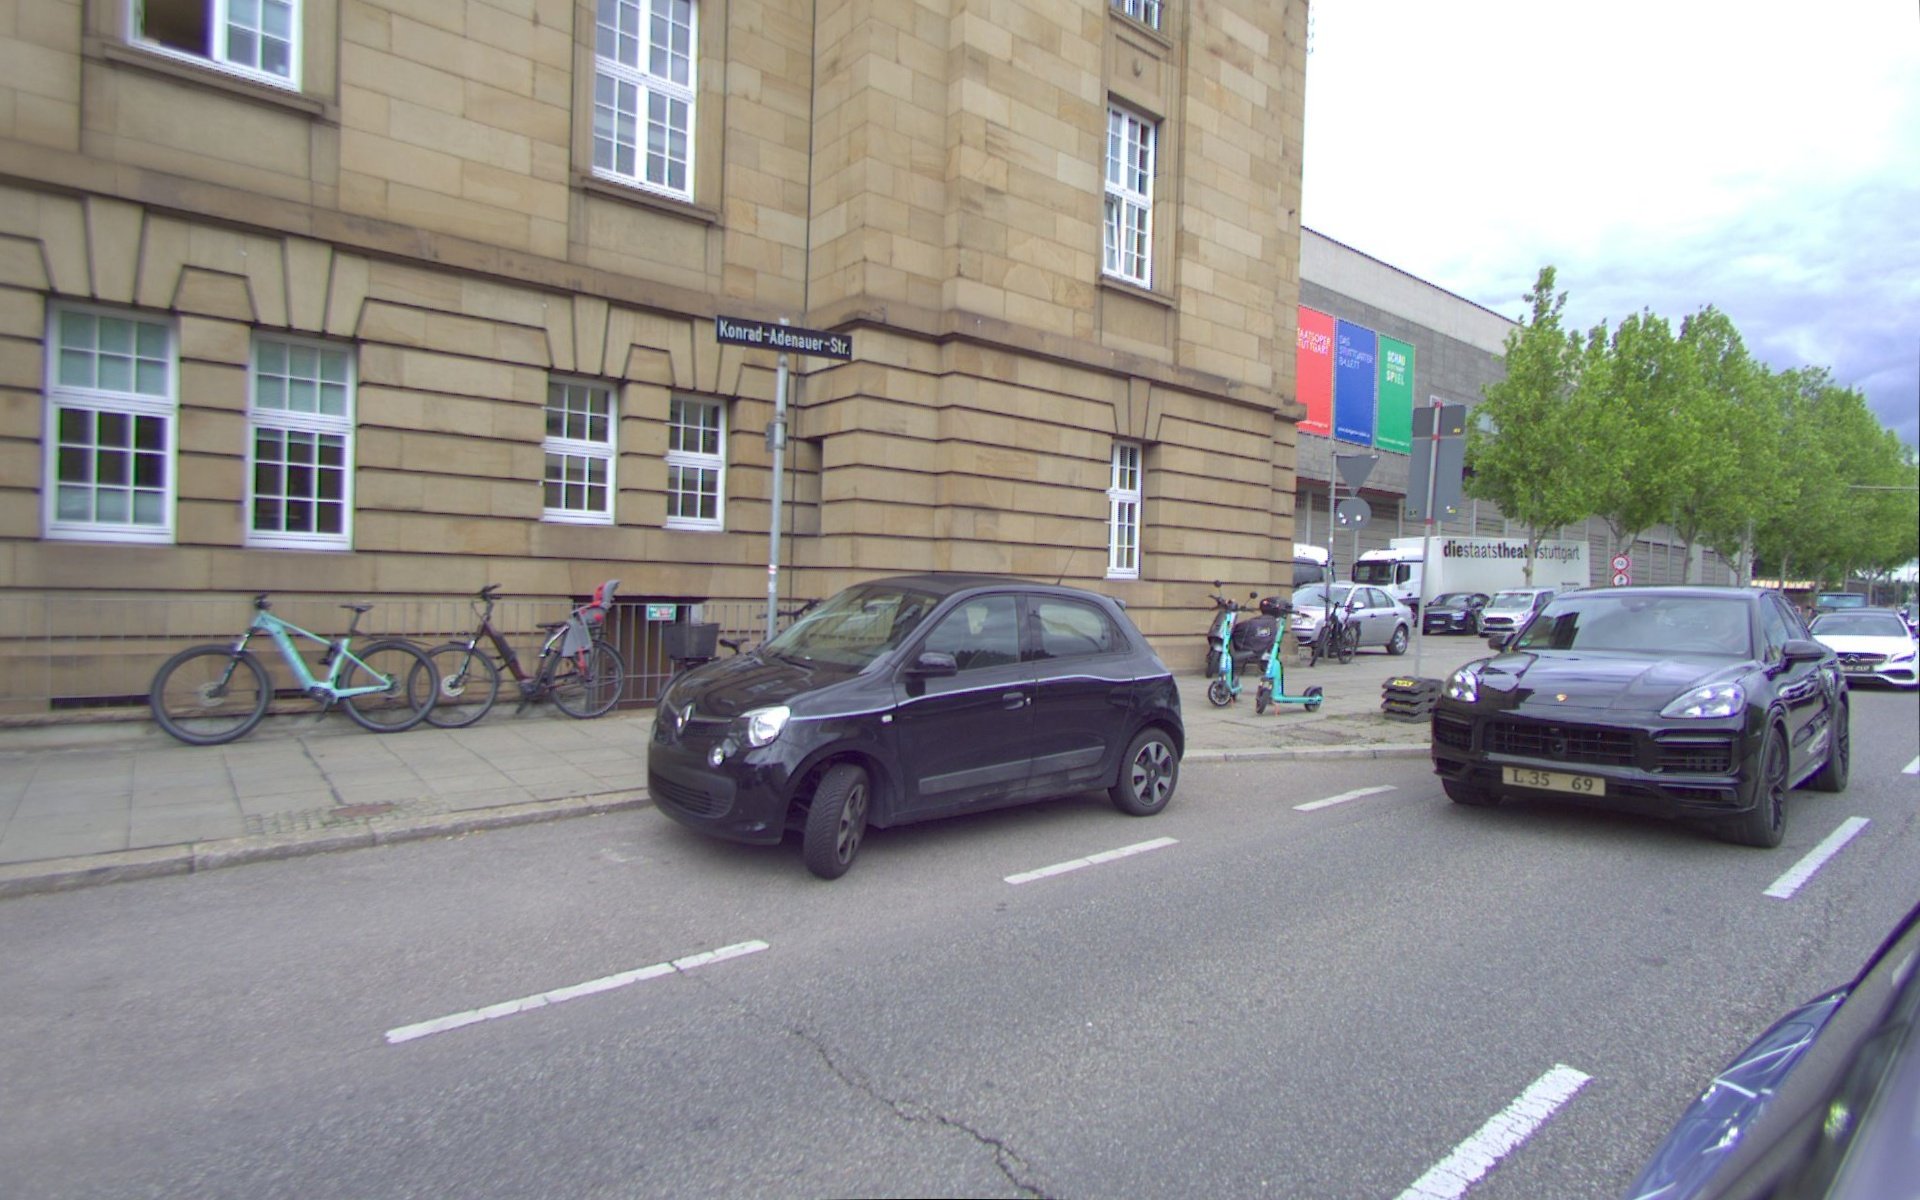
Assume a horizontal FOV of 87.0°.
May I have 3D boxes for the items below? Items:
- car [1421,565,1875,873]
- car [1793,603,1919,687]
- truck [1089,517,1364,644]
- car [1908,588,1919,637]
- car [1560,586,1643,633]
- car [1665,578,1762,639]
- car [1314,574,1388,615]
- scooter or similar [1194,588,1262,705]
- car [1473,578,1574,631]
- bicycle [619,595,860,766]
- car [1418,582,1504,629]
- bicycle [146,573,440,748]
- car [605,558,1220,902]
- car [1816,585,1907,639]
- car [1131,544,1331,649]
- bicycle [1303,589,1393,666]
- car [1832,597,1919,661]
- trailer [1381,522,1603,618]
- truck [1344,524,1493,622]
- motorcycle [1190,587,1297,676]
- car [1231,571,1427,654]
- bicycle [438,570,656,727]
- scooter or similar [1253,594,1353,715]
[{"bbox_3d":[5.324,0.628,7.616,4.128,1.678,1.906,0,0,-42],"label":"car"},{"bbox_3d":[17.341,0.769,19.226,3.934,1.393,1.931,0,1,-44],"label":"car"},{"bbox_3d":[9.810,-0.844,38.840,2.946,4.257,10.378,1,2,-39],"label":"truck"},{"bbox_3d":[41.304,0.514,42.609,1.993,2.039,3.936,0,0,44],"label":"car"},{"bbox_3d":[22.152,0.293,34.904,3.443,1.549,1.582,0,0,-42],"label":"car"},{"bbox_3d":[23.543,0.260,31.567,1.805,1.760,4.412,1,0,45],"label":"car"},{"bbox_3d":[19.068,-0.282,49.288,3.925,1.905,1.559,0,0,-37],"label":"car"},{"bbox_3d":[3.192,0.515,11.986,0.448,1.268,1.355,1,2,29],"label":"scooter or similar"},{"bbox_3d":[20.473,0.159,36.716,4.542,1.807,1.807,0,-2,-42],"label":"car"},{"bbox_3d":[-1.645,0.558,7.780,1.799,1.171,0.460,0,1,-41],"label":"bicycle"},{"bbox_3d":[19.143,0.182,38.624,3.697,1.710,1.717,0,0,-42],"label":"car"},{"bbox_3d":[-5.189,0.423,7.958,1.881,1.232,0.556,0,1,-40],"label":"bicycle"},{"bbox_3d":[-0.145,0.582,6.386,3.641,1.571,1.550,0,2,-38],"label":"car"},{"bbox_3d":[34.787,0.431,39.023,4.320,1.950,1.952,0,1,-40],"label":"car"},{"bbox_3d":[6.133,-0.059,22.566,4.830,2.095,1.951,1,0,-41],"label":"car"},{"bbox_3d":[6.810,0.454,17.720,1.929,1.239,0.610,0,4,-43],"label":"bicycle"},{"bbox_3d":[23.797,0.695,26.083,3.561,1.491,1.610,0,1,-43],"label":"car"},{"bbox_3d":[26.023,-1.344,48.993,13.700,4.153,3.159,-1,-1,-33],"label":"trailer"},{"bbox_3d":[20.627,-1.175,45.494,6.445,4.136,3.144,0,0,-33],"label":"truck"},{"bbox_3d":[4.276,0.444,15.214,1.886,1.257,0.456,0,2,-37],"label":"motorcycle"},{"bbox_3d":[7.513,0.241,20.402,4.494,1.488,1.781,1,0,-41],"label":"car"},{"bbox_3d":[-3.669,0.398,9.094,1.758,1.304,0.413,0,1,-40],"label":"bicycle"},{"bbox_3d":[3.843,0.578,11.302,1.378,1.277,0.380,0,1,-40],"label":"scooter or similar"}]
